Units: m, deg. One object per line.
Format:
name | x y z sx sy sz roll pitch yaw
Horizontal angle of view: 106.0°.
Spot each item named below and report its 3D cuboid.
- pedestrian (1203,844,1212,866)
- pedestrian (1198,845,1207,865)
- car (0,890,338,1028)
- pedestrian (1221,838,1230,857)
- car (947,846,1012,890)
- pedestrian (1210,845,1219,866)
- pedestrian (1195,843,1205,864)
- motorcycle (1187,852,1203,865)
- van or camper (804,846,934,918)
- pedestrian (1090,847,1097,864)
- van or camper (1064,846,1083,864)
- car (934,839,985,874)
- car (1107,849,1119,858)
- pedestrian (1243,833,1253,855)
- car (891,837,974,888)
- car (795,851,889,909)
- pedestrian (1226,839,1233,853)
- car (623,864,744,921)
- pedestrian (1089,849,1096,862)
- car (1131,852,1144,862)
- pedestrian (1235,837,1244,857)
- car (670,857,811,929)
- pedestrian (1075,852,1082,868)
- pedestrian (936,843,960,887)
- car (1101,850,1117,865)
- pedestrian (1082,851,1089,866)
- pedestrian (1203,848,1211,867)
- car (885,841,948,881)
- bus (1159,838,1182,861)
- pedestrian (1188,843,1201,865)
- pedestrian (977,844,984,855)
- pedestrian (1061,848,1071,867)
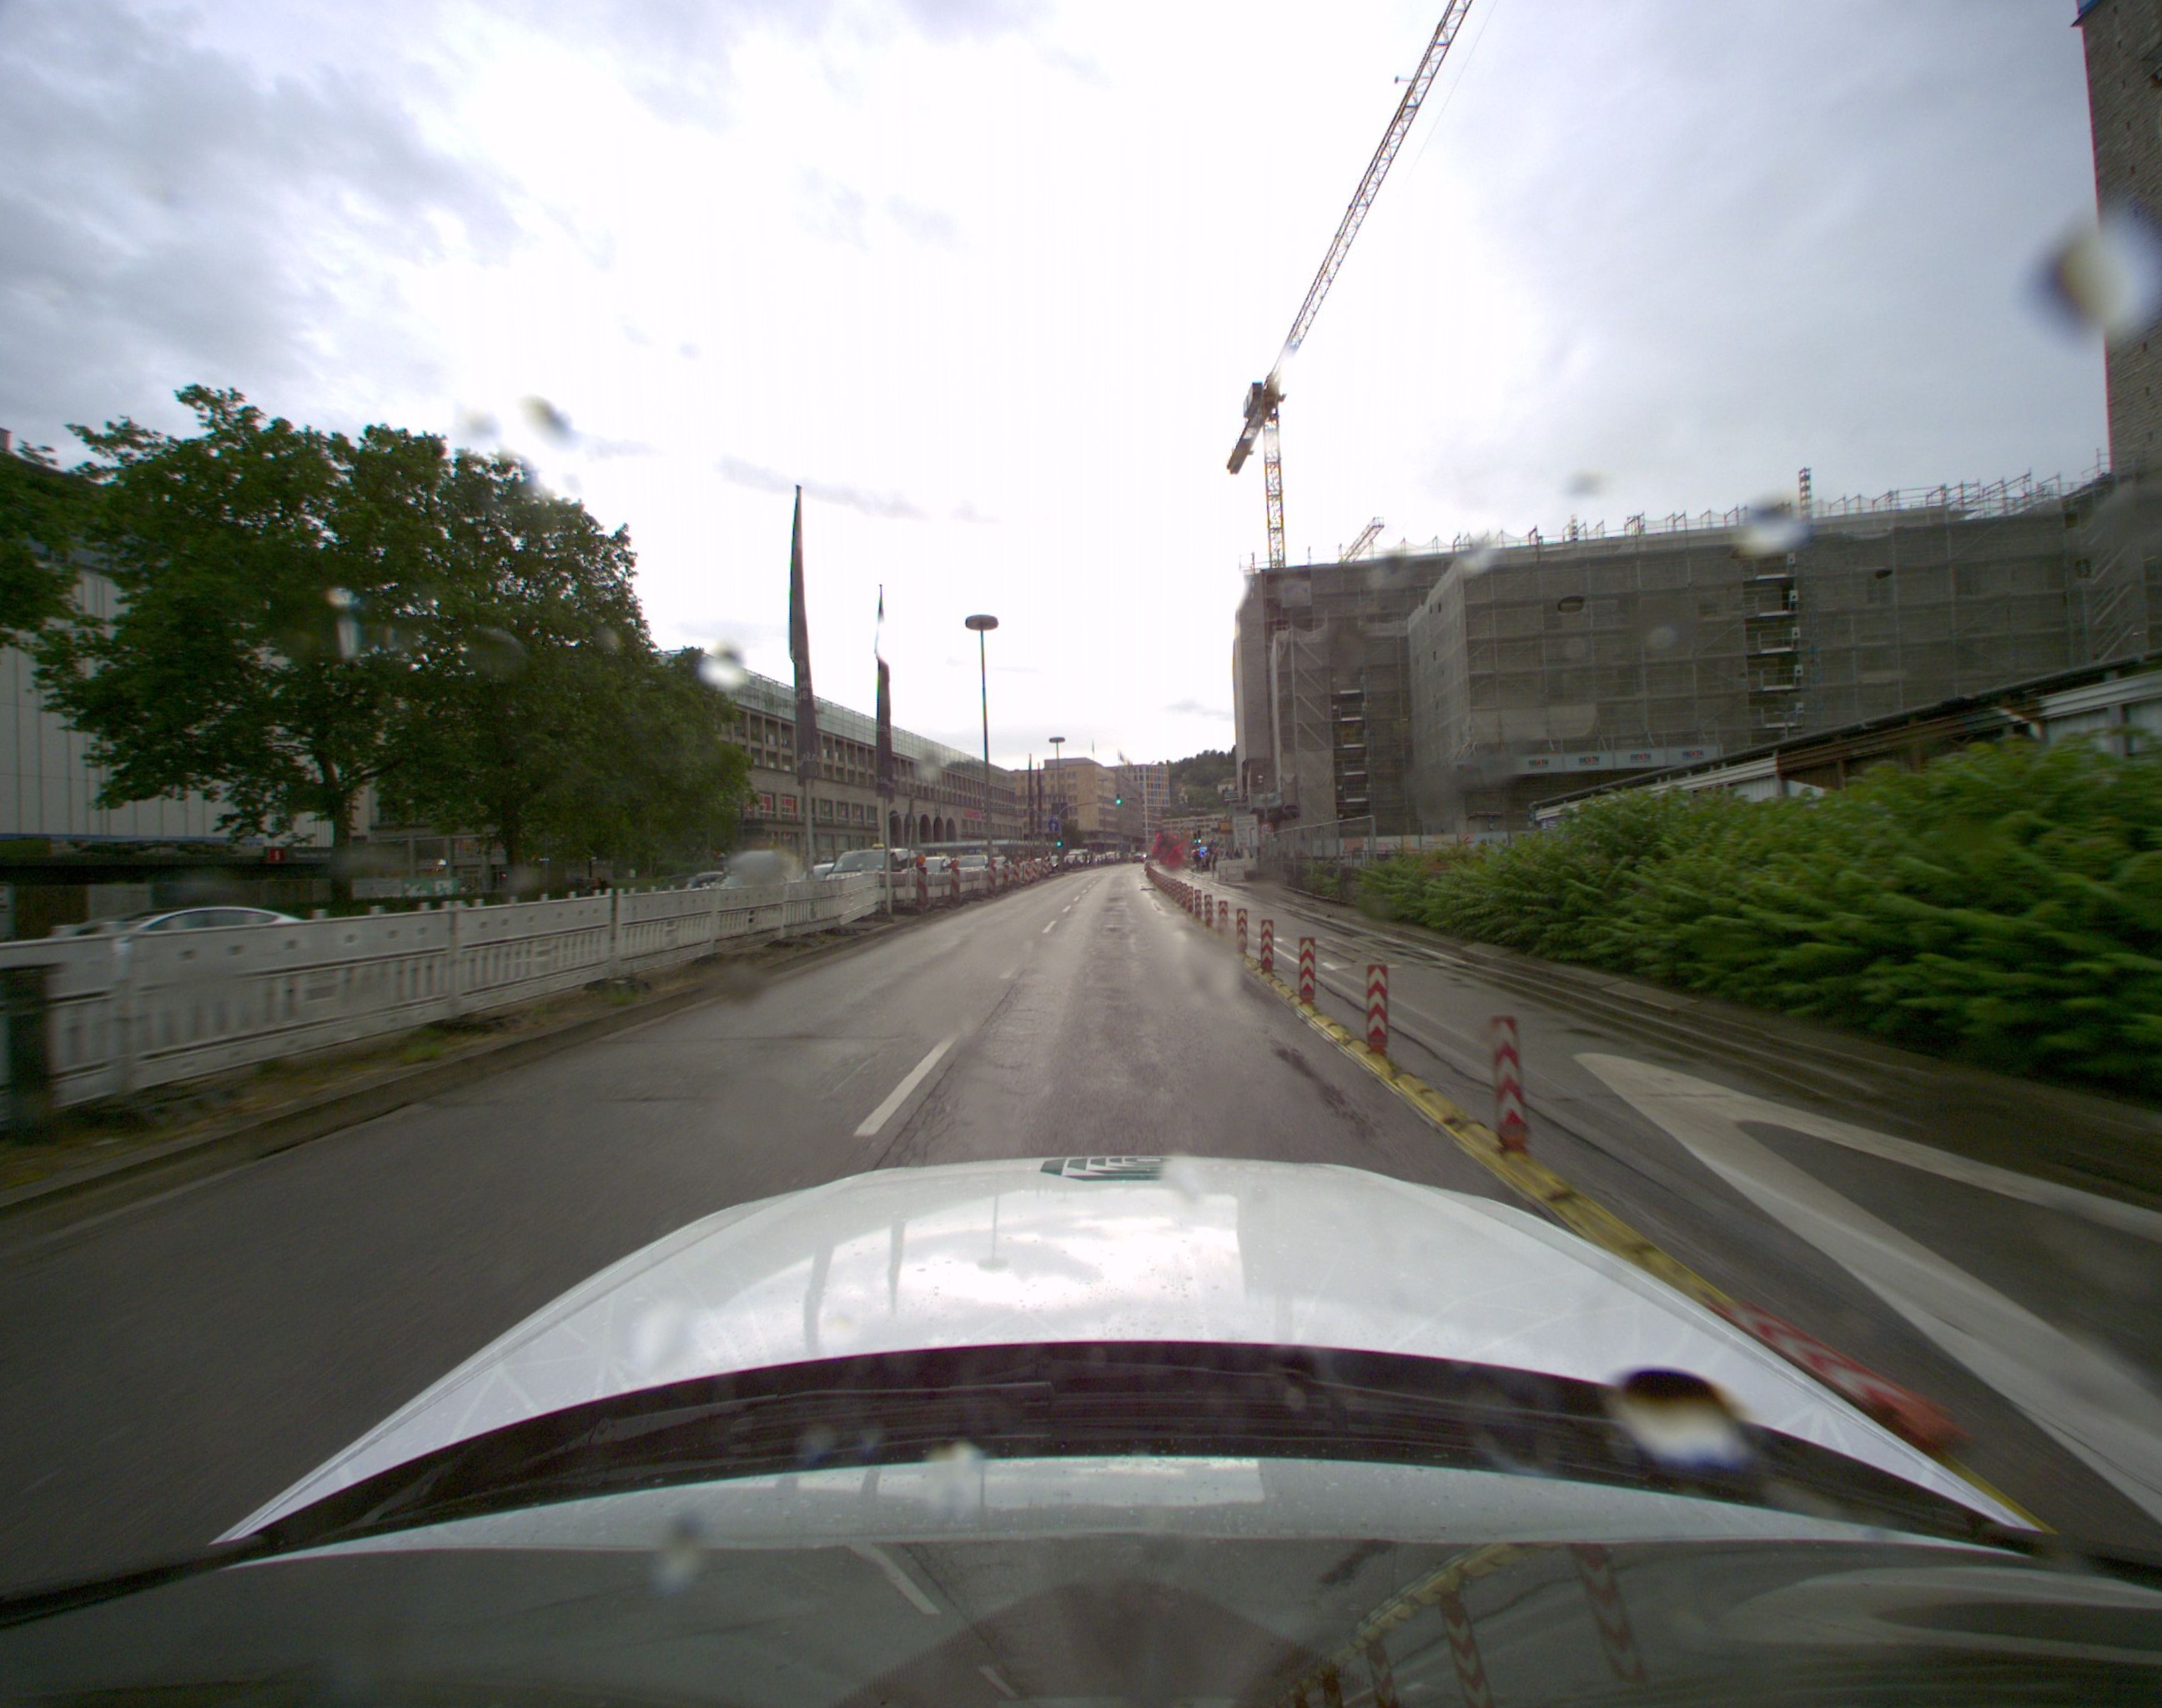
pedestrian | 10.648 0.098 68.385 0.555 1.751 0.713 -5 1 9
pedestrian | 10.479 0.060 70.144 0.555 1.640 0.754 -5 1 9
car | -16.284 1.635 14.146 1.983 1.631 4.827 -1 2 6
pedestrian | 14.563 -0.621 82.182 0.719 1.847 0.812 -5 1 8
car | -4.898 0.619 40.044 1.983 1.817 4.820 -3 2 6
pedestrian | 10.719 0.104 65.448 0.555 1.650 0.616 -5 1 9
pedestrian | 10.440 -0.065 71.323 0.557 1.759 0.751 -5 1 -5
motorcycle | 9.324 0.351 66.459 0.589 1.021 1.226 -3 1 -35
van or camper | -6.130 0.737 24.350 1.935 1.819 5.401 -1 1 6
pedestrian | 1.485 0.141 97.549 0.719 2.007 0.774 -1 1 8
van or camper | -1.152 0.155 126.272 1.983 2.514 5.381 -5 1 7
car | -7.175 0.086 48.641 1.893 1.898 4.531 -1 2 6
car | 6.136 -0.126 156.153 1.983 1.552 4.007 -3 1 6
pedestrian | 12.818 -0.760 62.467 0.560 1.650 0.617 -5 1 13
car | -5.975 0.278 33.353 1.984 1.770 4.819 -3 2 6
car | -9.097 0.921 31.423 1.905 1.851 4.573 3 2 5
pedestrian | 17.260 -0.945 94.715 0.647 1.539 0.667 -5 1 9
car | -14.222 1.319 29.478 1.881 1.702 4.309 -1 2 6
pedestrian | 1.422 0.181 101.715 0.718 1.606 0.998 -1 1 8
car | 9.444 0.446 136.753 1.985 1.552 4.004 -3 1 3
pedestrian | 13.757 -0.628 70.607 0.546 1.632 0.998 -5 1 8
car | -9.681 1.035 23.566 1.881 1.702 4.309 -1 2 6
pedestrian | -0.308 0.605 87.012 0.648 1.711 0.594 -1 1 6
pedestrian | -6.237 0.490 38.290 0.872 2.013 0.822 -2 1 2
car | 4.800 0.542 137.937 1.981 2.178 5.560 -3 1 10
pedestrian | 0.526 0.512 97.657 0.694 1.754 0.713 -2 1 8
pedestrian | 10.450 0.286 67.449 0.555 1.449 0.713 -5 1 9
car | -8.327 0.303 41.691 1.775 1.722 4.491 -3 2 6
bus | 13.072 -0.699 118.566 2.739 3.068 9.104 -1 1 9
pedestrian | 9.299 -0.011 66.466 0.584 1.740 0.813 -3 1 -35
pedestrian | -13.826 -0.639 111.995 0.707 1.393 0.699 -2 1 -22
pedestrian | -1.417 0.331 78.548 0.780 1.775 0.606 -5 1 -4
